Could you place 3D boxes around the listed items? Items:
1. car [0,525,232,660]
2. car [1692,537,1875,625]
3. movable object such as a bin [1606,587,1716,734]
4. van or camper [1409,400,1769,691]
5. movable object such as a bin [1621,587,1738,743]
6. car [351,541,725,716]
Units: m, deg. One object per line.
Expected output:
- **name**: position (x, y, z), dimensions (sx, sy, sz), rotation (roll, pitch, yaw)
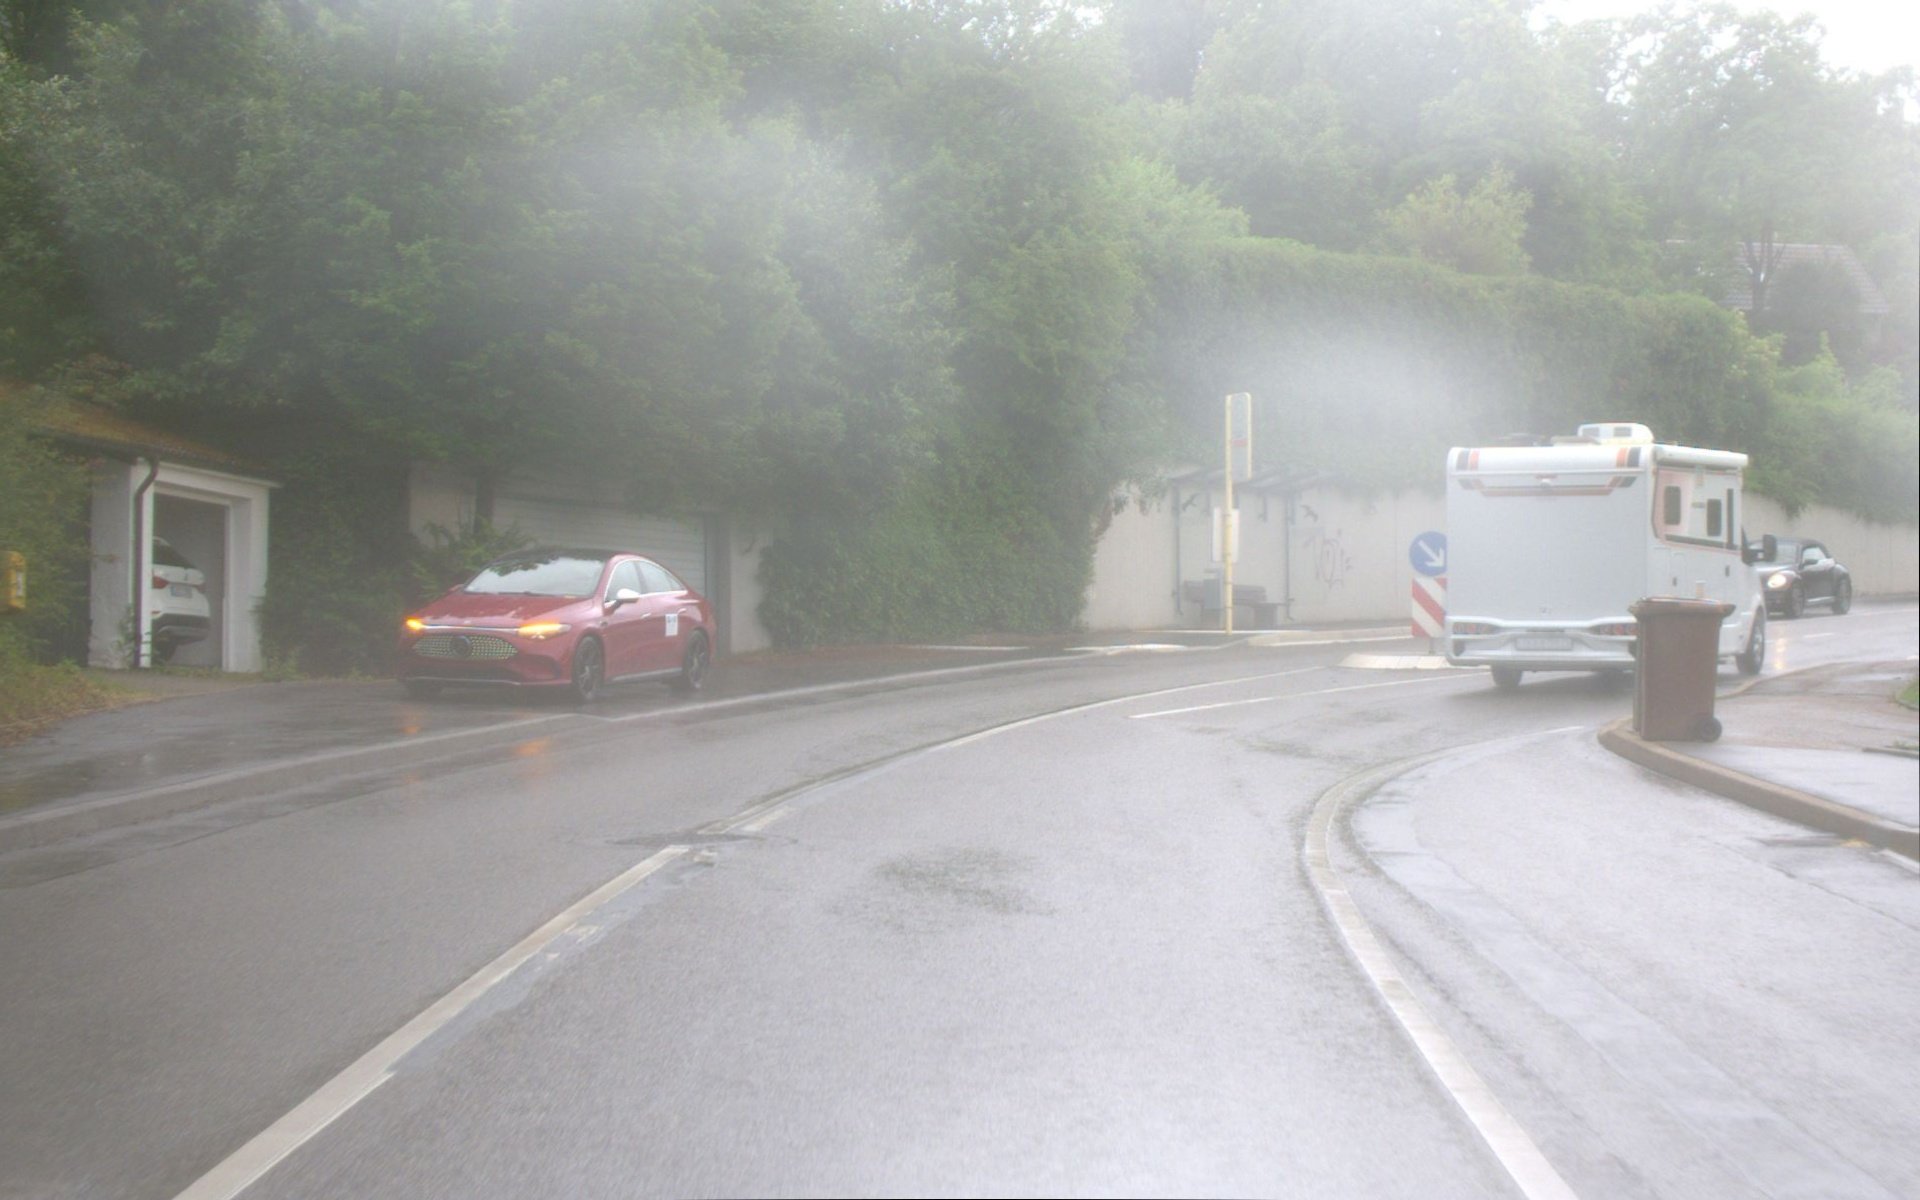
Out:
- **car**: position (-10.663, -0.097, 39.706), dimensions (3.990, 1.498, 1.877), rotation (0, 1, 15)
- **car**: position (15.398, -0.365, 64.182), dimensions (1.730, 1.411, 3.991), rotation (-4, 0, 38)
- **movable object such as a bin**: position (5.524, 0.470, 27.116), dimensions (0.778, 1.129, 0.738), rotation (1, 1, 6)
- **van or camper**: position (7.240, -0.629, 38.936), dimensions (2.543, 2.915, 5.941), rotation (-4, 0, 24)
- **movable object such as a bin**: position (5.372, 0.477, 25.707), dimensions (0.778, 1.129, 0.738), rotation (1, 1, 6)
- **car**: position (-4.055, 0.219, 33.898), dimensions (1.995, 1.556, 4.649), rotation (1, 1, 16)
